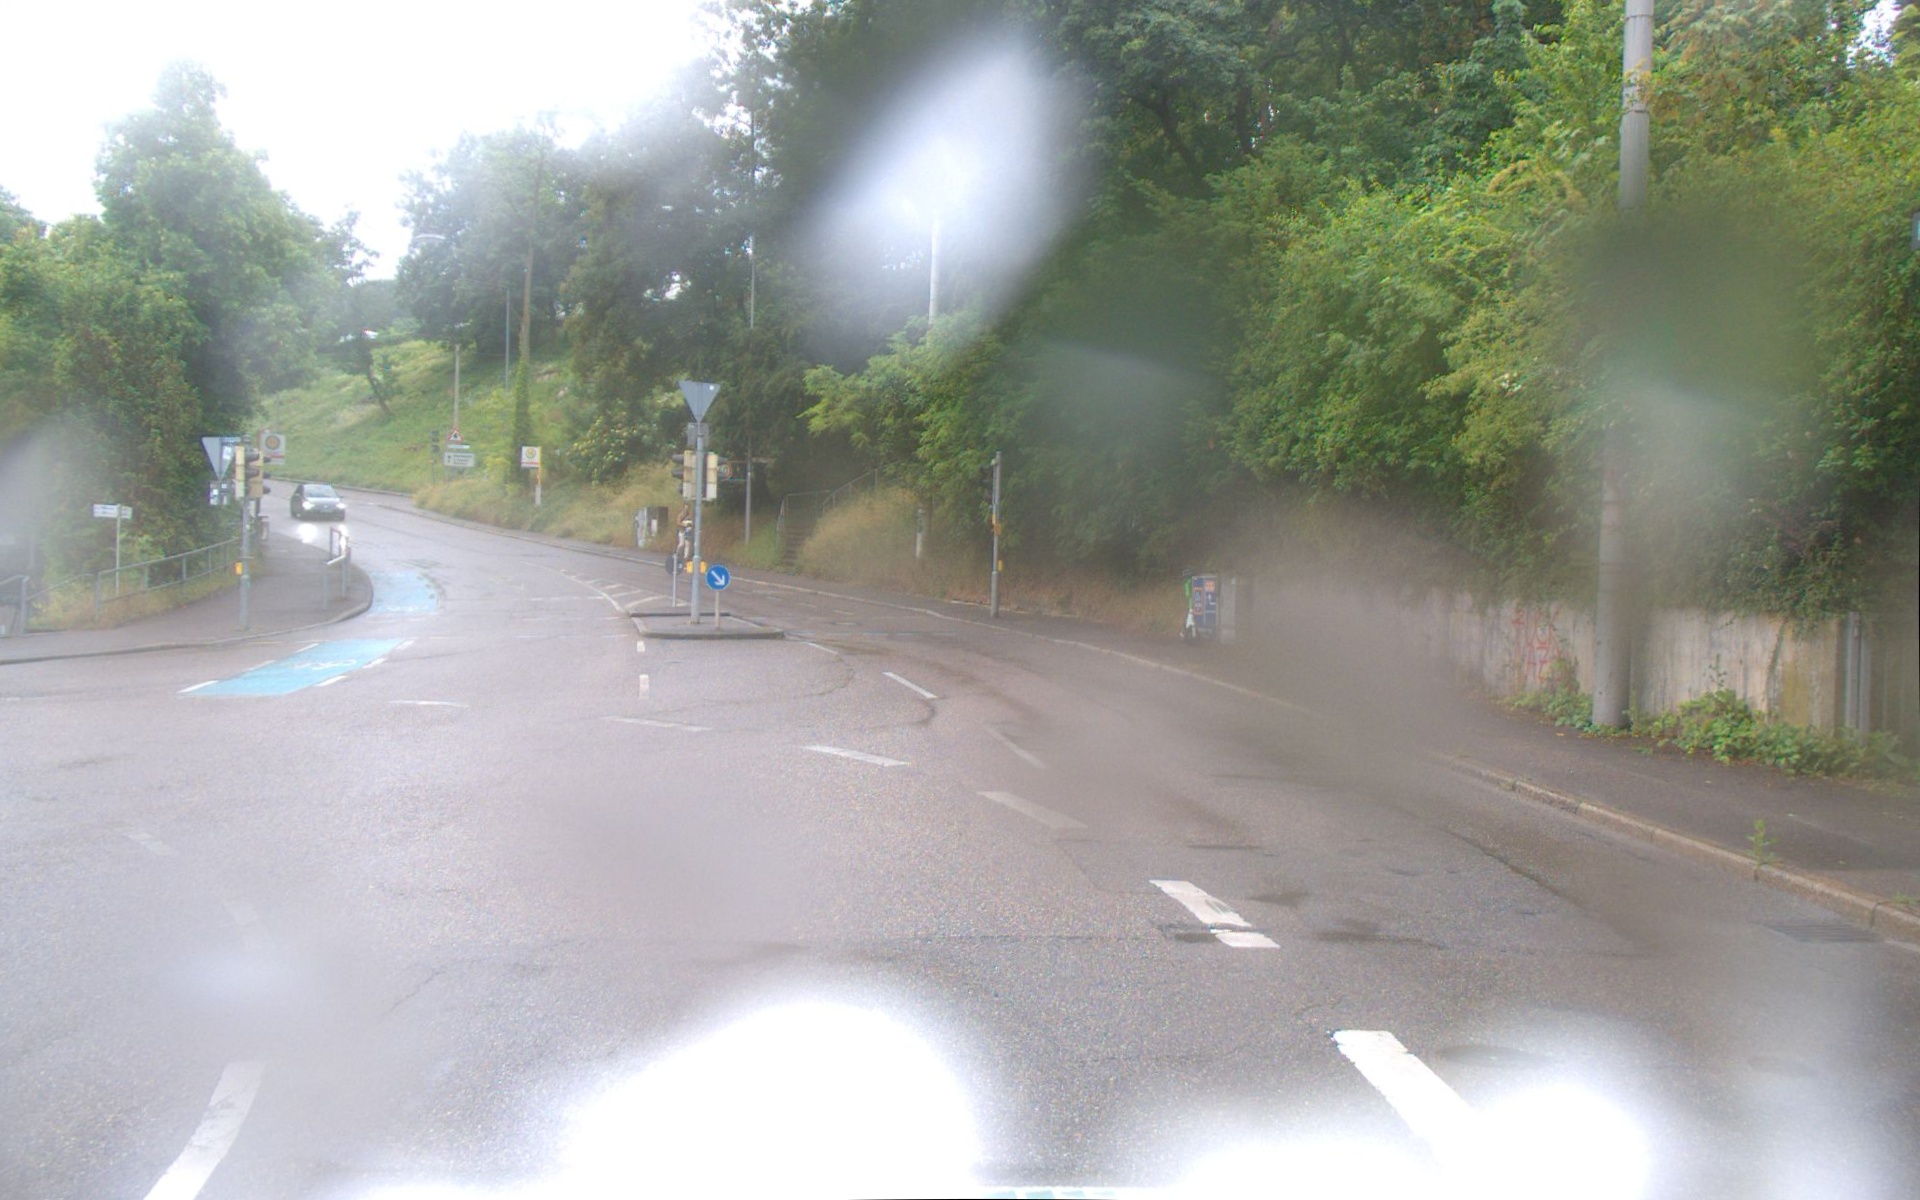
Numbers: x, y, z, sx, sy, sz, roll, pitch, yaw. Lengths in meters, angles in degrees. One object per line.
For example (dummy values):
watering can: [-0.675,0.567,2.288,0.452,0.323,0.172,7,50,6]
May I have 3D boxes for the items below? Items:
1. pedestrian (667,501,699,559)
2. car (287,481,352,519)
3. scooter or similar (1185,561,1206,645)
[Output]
pedestrian: [-8.704,-2.200,51.957,0.867,1.767,0.861,1,-1,-18]
car: [-27.763,-4.335,71.606,1.937,1.538,4.359,0,3,-31]
scooter or similar: [3.779,0.036,26.536,0.315,1.302,0.752,0,3,7]
